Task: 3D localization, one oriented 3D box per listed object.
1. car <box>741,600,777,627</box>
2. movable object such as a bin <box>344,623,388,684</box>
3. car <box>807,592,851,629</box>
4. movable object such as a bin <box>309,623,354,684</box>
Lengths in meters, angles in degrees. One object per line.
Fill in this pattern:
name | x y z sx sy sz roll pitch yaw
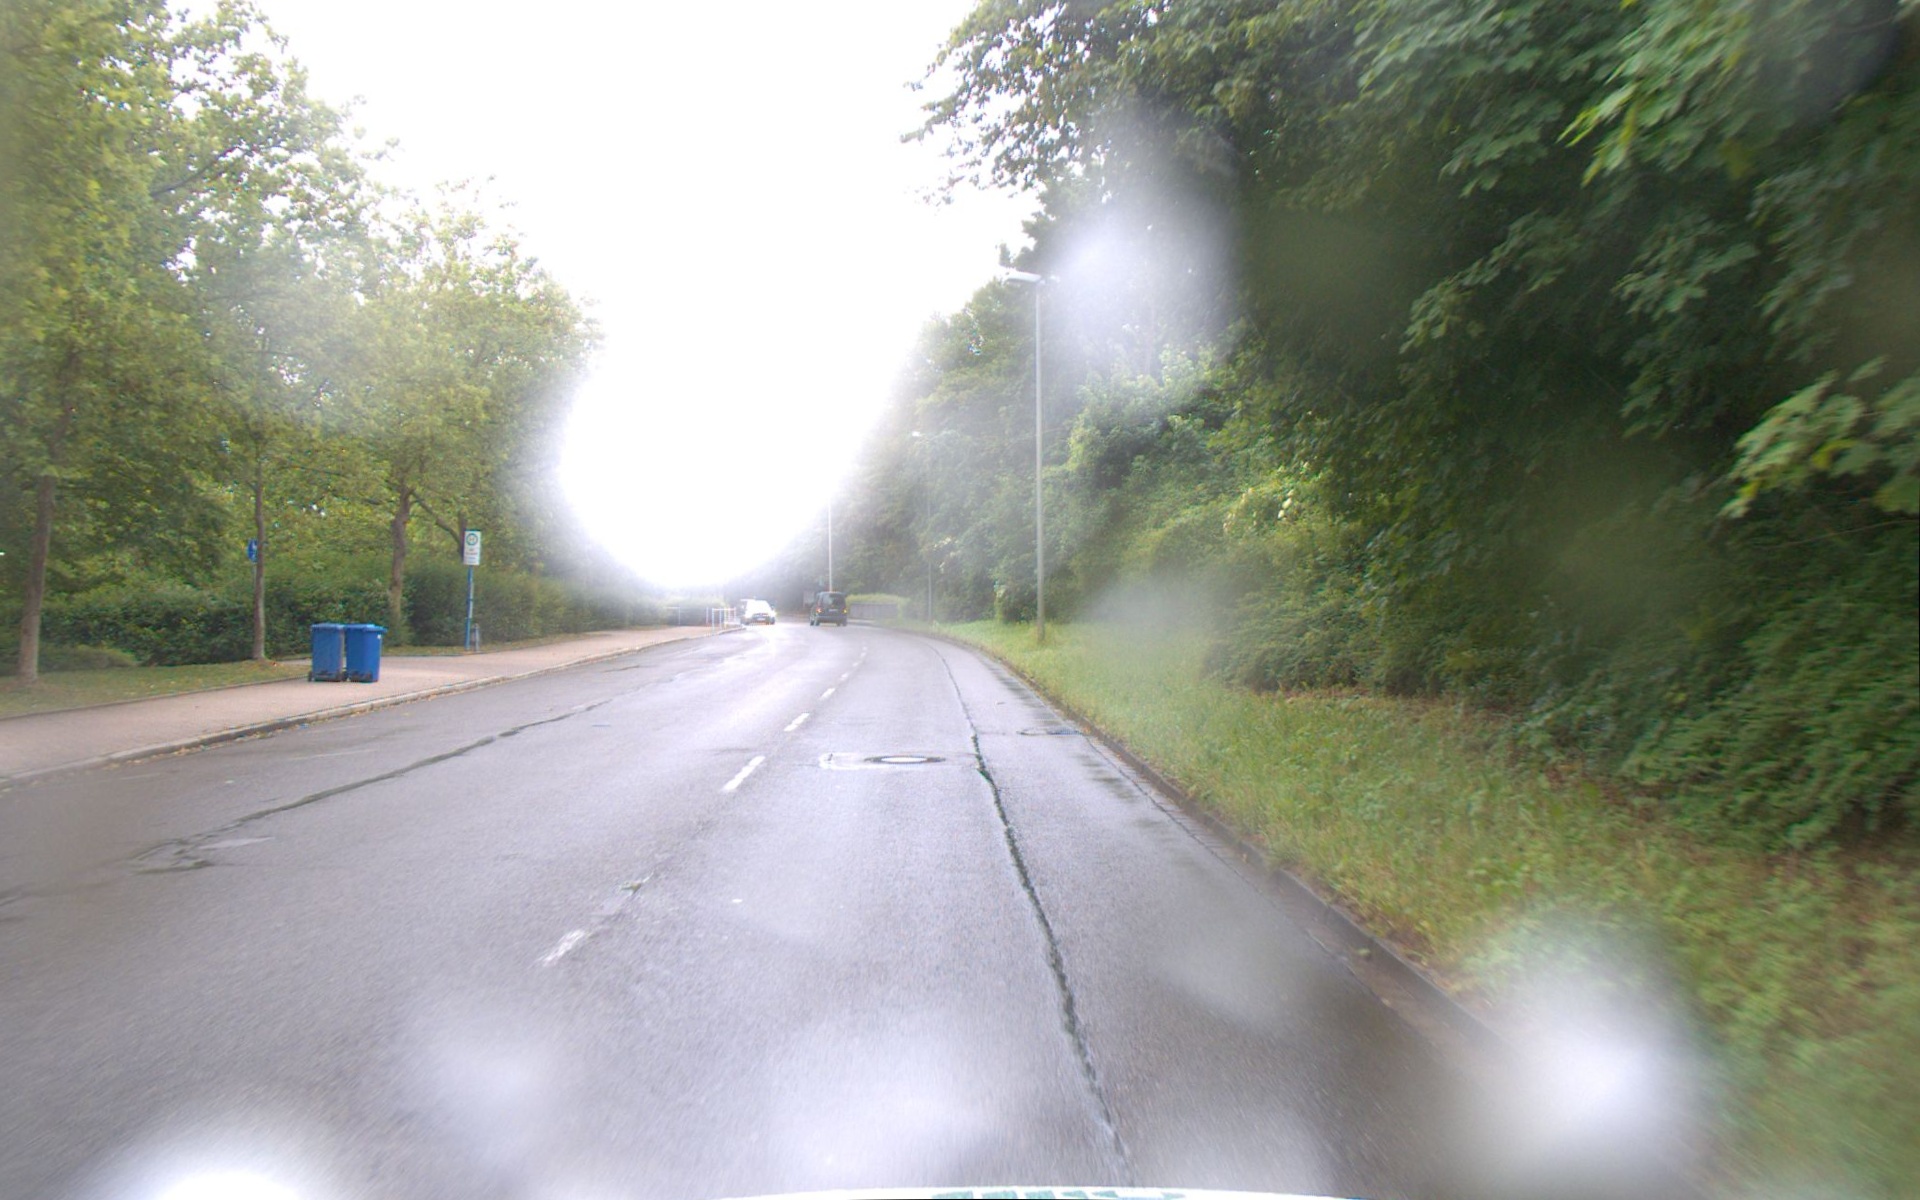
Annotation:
car | -12.070 0.803 99.119 1.794 1.490 3.988 -2 0 -12
movable object such as a bin | -11.308 1.017 31.499 0.555 1.117 0.672 2 0 0
car | -7.319 0.568 91.909 1.950 1.959 3.988 0 0 -12
movable object such as a bin | -11.896 1.008 31.315 0.555 1.117 0.672 2 0 0
